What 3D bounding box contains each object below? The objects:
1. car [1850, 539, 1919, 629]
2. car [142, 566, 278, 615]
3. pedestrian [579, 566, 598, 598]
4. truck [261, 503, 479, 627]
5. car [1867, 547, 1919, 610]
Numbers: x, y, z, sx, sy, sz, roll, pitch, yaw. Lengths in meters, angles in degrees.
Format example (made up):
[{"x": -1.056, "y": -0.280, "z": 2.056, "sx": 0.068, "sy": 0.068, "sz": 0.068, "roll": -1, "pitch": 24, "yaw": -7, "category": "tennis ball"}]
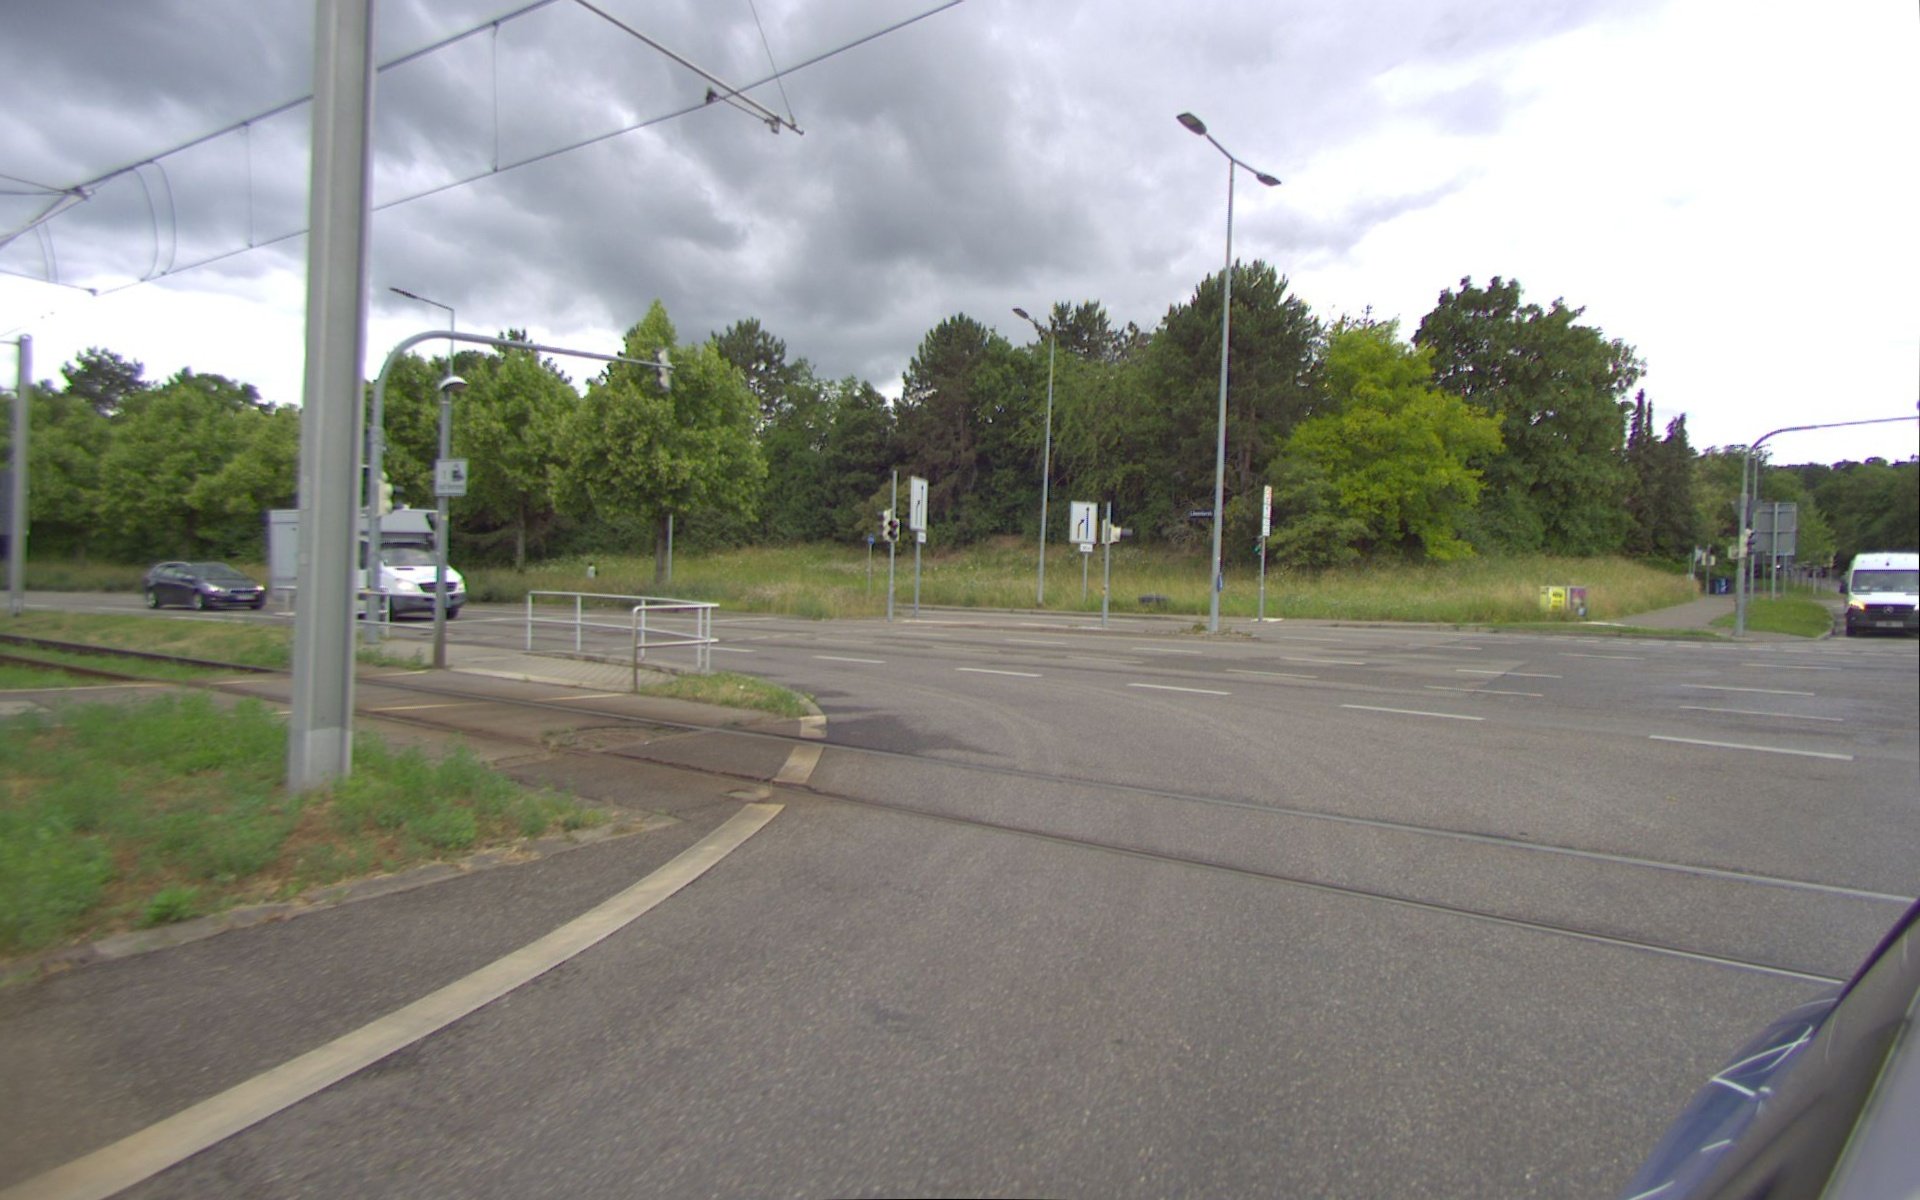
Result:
[{"x": 30.174, "y": -0.480, "z": 32.600, "sx": 2.219, "sy": 2.692, "sz": 5.872, "roll": 1, "pitch": 0, "yaw": 41, "category": "car"}, {"x": -23.308, "y": -0.320, "z": 31.442, "sx": 3.965, "sy": 1.415, "sz": 1.980, "roll": 2, "pitch": 1, "yaw": 29, "category": "car"}, {"x": -20.477, "y": -1.008, "z": 55.824, "sx": 0.622, "sy": 1.739, "sz": 0.731, "roll": 2, "pitch": 0, "yaw": 39, "category": "pedestrian"}, {"x": -15.949, "y": -0.995, "z": 27.250, "sx": 6.216, "sy": 3.046, "sz": 2.092, "roll": 2, "pitch": 4, "yaw": 28, "category": "truck"}, {"x": 38.466, "y": -0.808, "z": 41.209, "sx": 2.220, "sy": 2.416, "sz": 5.869, "roll": 1, "pitch": 0, "yaw": 42, "category": "car"}]
